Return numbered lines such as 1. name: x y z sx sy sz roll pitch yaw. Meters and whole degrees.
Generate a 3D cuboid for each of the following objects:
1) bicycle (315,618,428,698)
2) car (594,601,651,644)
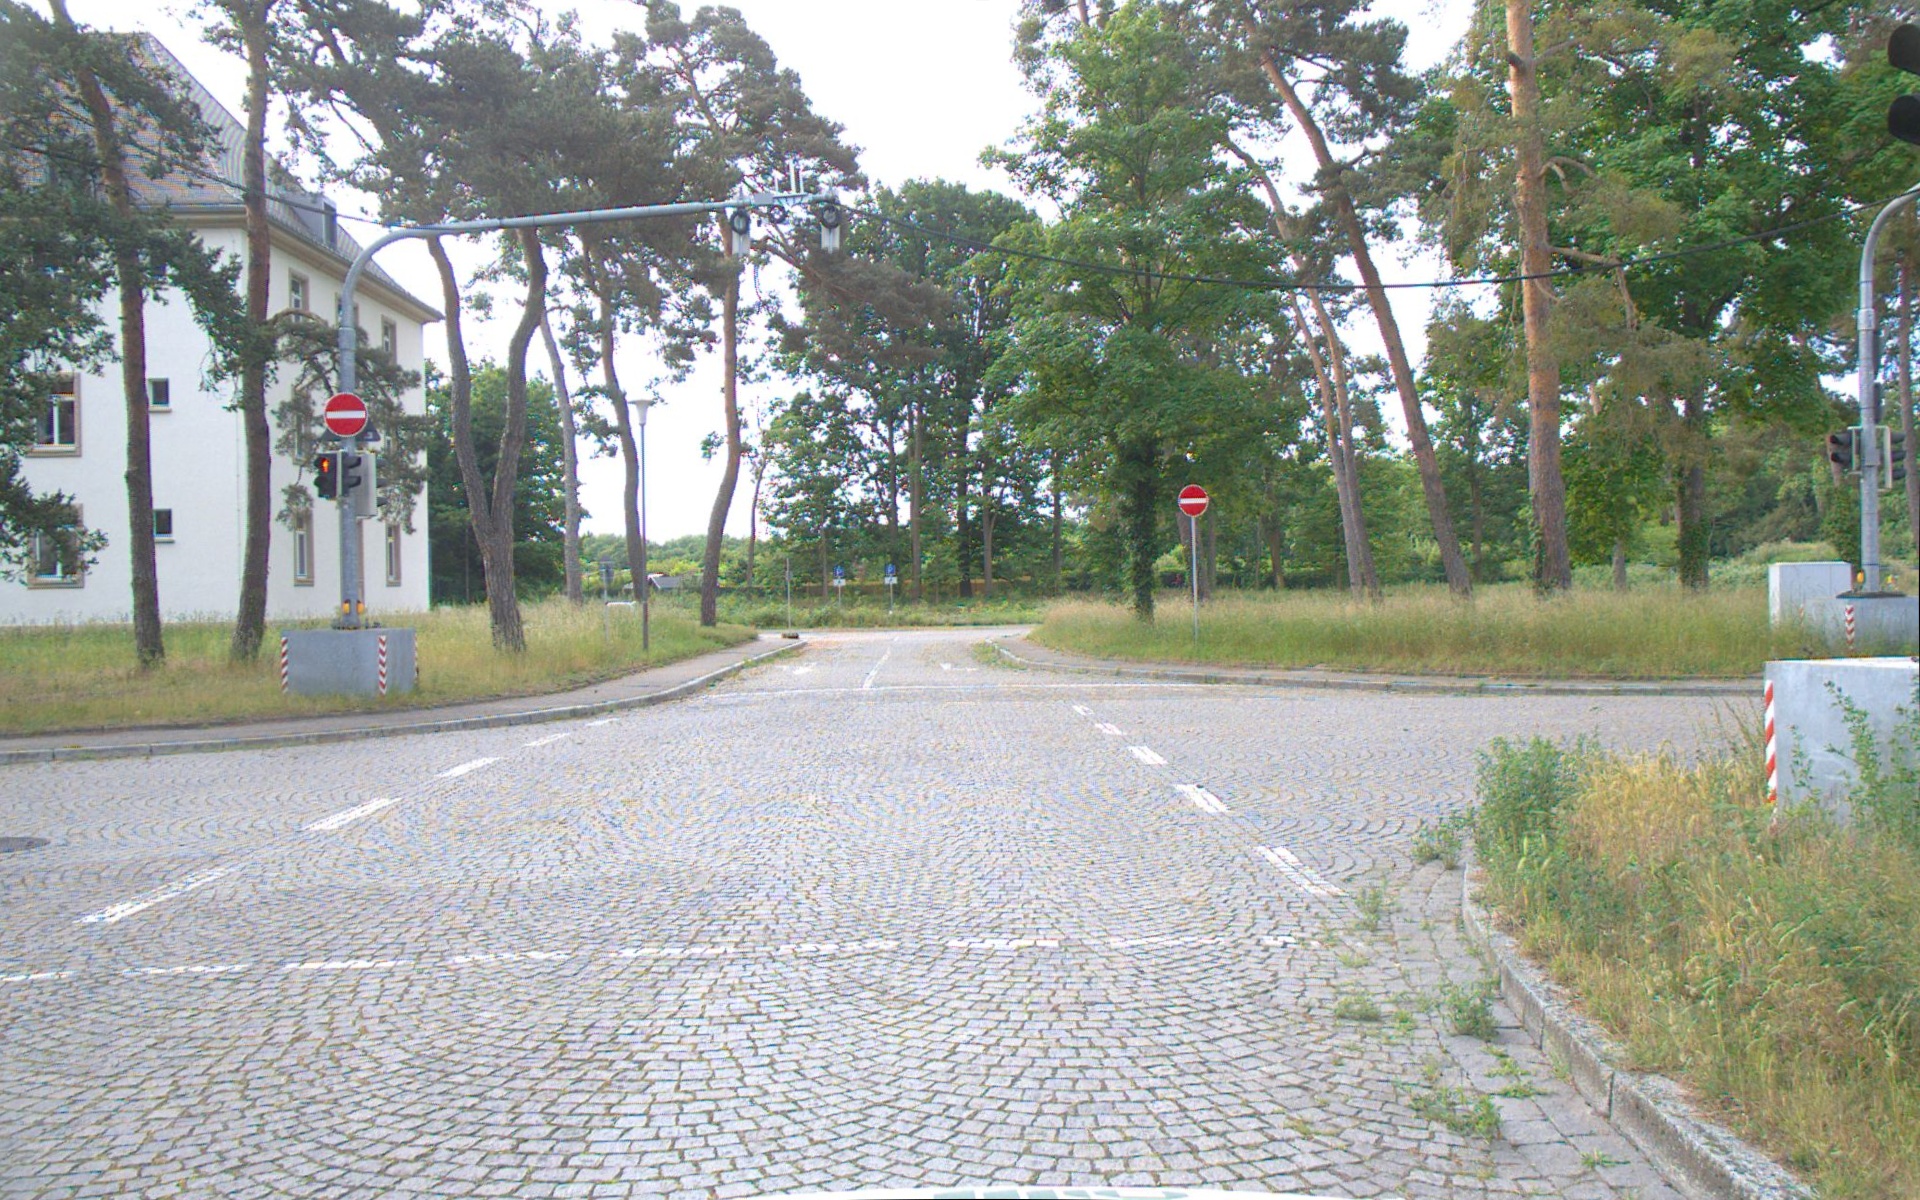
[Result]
1. bicycle: -8.576 0.837 24.137 1.435 1.083 0.516 -2 1 -3
2. car: -15.068 0.990 74.039 1.954 1.878 3.997 0 0 -4
